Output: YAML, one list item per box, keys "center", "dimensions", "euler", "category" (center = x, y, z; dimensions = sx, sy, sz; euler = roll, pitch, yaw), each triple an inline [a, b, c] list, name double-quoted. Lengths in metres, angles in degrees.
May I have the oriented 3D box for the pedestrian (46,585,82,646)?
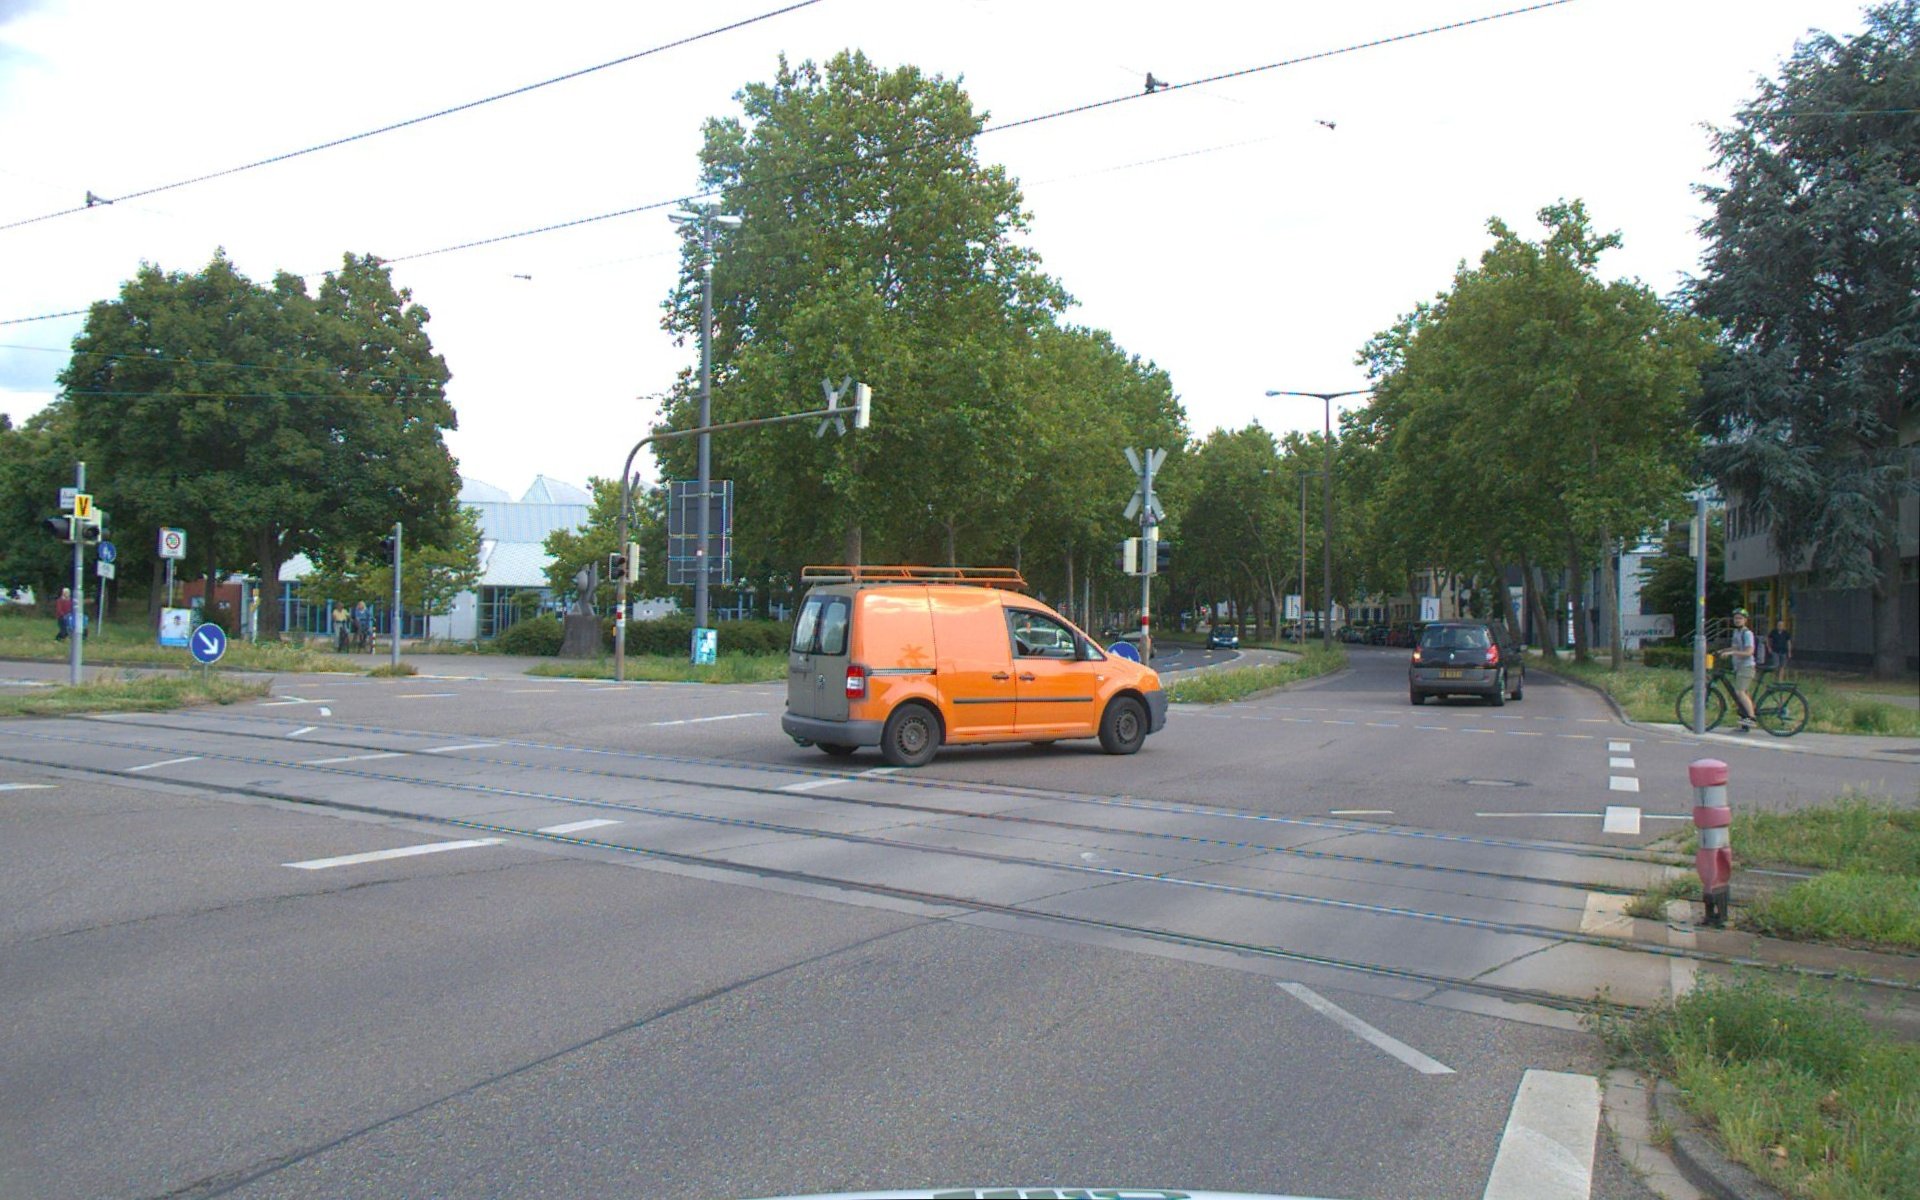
- center: [-24.961, 0.423, 46.080]
  dimensions: [0.622, 1.673, 0.614]
  euler: [0, 1, 11]
  category: "pedestrian"

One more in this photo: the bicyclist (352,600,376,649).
- center: [-19.596, 0.795, 54.382]
  dimensions: [0.545, 1.581, 0.485]
  euler: [1, -1, 37]
  category: "bicyclist"

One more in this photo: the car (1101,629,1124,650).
- center: [15.308, 3.948, 166.100]
  dimensions: [1.952, 2.049, 4.000]
  euler: [1, -1, 1]
  category: "car"

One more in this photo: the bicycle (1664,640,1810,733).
- center: [11.417, 1.258, 24.323]
  dimensions: [1.909, 1.257, 0.540]
  euler: [1, 1, 29]
  category: "bicycle"

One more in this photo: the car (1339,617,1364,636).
- center: [37.544, 2.513, 158.773]
  dimensions: [1.951, 1.601, 4.004]
  euler: [0, 1, 8]
  category: "car"

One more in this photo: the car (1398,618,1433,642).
- center: [34.081, 2.249, 123.827]
  dimensions: [1.951, 1.601, 4.004]
  euler: [0, 1, 8]
  category: "car"

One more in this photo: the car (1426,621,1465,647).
- center: [32.880, 2.284, 112.050]
  dimensions: [1.951, 1.601, 4.004]
  euler: [0, 1, 8]
  category: "car"

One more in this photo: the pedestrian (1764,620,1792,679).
- center: [22.704, 1.366, 45.929]
  dimensions: [0.607, 1.597, 0.559]
  euler: [1, 1, 19]
  category: "pedestrian"

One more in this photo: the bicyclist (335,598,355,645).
- center: [-21.087, 0.736, 56.678]
  dimensions: [0.481, 1.581, 0.550]
  euler: [3, -2, -32]
  category: "bicyclist"

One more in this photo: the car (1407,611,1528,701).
- center: [10.017, 1.078, 32.464]
  dimensions: [1.696, 1.659, 4.048]
  euler: [-1, -2, 25]
  category: "car"

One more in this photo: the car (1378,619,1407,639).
- center: [37.341, 2.506, 142.835]
  dimensions: [1.951, 1.601, 4.004]
  euler: [0, 1, 8]
  category: "car"

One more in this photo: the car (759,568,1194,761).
- center: [0.222, 0.654, 17.621]
  dimensions: [4.311, 1.831, 1.865]
  euler: [1, -1, -31]
  category: "car"

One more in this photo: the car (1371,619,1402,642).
- center: [34.109, 2.424, 132.307]
  dimensions: [1.951, 1.601, 4.004]
  euler: [0, 1, 8]
  category: "car"

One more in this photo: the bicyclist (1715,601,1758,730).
- center: [11.416, 0.947, 24.315]
  dimensions: [0.533, 1.841, 0.540]
  euler: [1, 1, 29]
  category: "bicyclist"

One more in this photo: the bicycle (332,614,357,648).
- center: [-21.099, 1.063, 56.684]
  dimensions: [0.555, 1.150, 1.365]
  euler: [1, -1, -32]
  category: "bicycle"

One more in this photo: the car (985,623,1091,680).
- center: [2.104, 1.313, 43.616]
  dimensions: [1.787, 1.388, 4.139]
  euler: [1, -1, 17]
  category: "car"

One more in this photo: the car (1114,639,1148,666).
- center: [8.344, 2.560, 80.879]
  dimensions: [1.600, 1.212, 3.710]
  euler: [1, 0, 6]
  category: "car"

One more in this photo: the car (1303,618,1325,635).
- center: [36.922, 2.739, 172.390]
  dimensions: [1.951, 1.601, 4.004]
  euler: [0, 1, 8]
  category: "car"

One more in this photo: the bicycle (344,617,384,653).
- center: [-19.603, 1.158, 54.364]
  dimensions: [1.352, 1.150, 0.560]
  euler: [1, -1, 37]
  category: "bicycle"

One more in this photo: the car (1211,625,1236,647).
- center: [17.736, 2.429, 111.333]
  dimensions: [1.621, 1.293, 3.775]
  euler: [0, 1, 9]
  category: "car"

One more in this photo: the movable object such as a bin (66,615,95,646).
- center: [-24.444, 0.841, 45.976]
  dimensions: [0.448, 0.825, 0.579]
  euler: [0, 1, 10]
  category: "movable object such as a bin"
